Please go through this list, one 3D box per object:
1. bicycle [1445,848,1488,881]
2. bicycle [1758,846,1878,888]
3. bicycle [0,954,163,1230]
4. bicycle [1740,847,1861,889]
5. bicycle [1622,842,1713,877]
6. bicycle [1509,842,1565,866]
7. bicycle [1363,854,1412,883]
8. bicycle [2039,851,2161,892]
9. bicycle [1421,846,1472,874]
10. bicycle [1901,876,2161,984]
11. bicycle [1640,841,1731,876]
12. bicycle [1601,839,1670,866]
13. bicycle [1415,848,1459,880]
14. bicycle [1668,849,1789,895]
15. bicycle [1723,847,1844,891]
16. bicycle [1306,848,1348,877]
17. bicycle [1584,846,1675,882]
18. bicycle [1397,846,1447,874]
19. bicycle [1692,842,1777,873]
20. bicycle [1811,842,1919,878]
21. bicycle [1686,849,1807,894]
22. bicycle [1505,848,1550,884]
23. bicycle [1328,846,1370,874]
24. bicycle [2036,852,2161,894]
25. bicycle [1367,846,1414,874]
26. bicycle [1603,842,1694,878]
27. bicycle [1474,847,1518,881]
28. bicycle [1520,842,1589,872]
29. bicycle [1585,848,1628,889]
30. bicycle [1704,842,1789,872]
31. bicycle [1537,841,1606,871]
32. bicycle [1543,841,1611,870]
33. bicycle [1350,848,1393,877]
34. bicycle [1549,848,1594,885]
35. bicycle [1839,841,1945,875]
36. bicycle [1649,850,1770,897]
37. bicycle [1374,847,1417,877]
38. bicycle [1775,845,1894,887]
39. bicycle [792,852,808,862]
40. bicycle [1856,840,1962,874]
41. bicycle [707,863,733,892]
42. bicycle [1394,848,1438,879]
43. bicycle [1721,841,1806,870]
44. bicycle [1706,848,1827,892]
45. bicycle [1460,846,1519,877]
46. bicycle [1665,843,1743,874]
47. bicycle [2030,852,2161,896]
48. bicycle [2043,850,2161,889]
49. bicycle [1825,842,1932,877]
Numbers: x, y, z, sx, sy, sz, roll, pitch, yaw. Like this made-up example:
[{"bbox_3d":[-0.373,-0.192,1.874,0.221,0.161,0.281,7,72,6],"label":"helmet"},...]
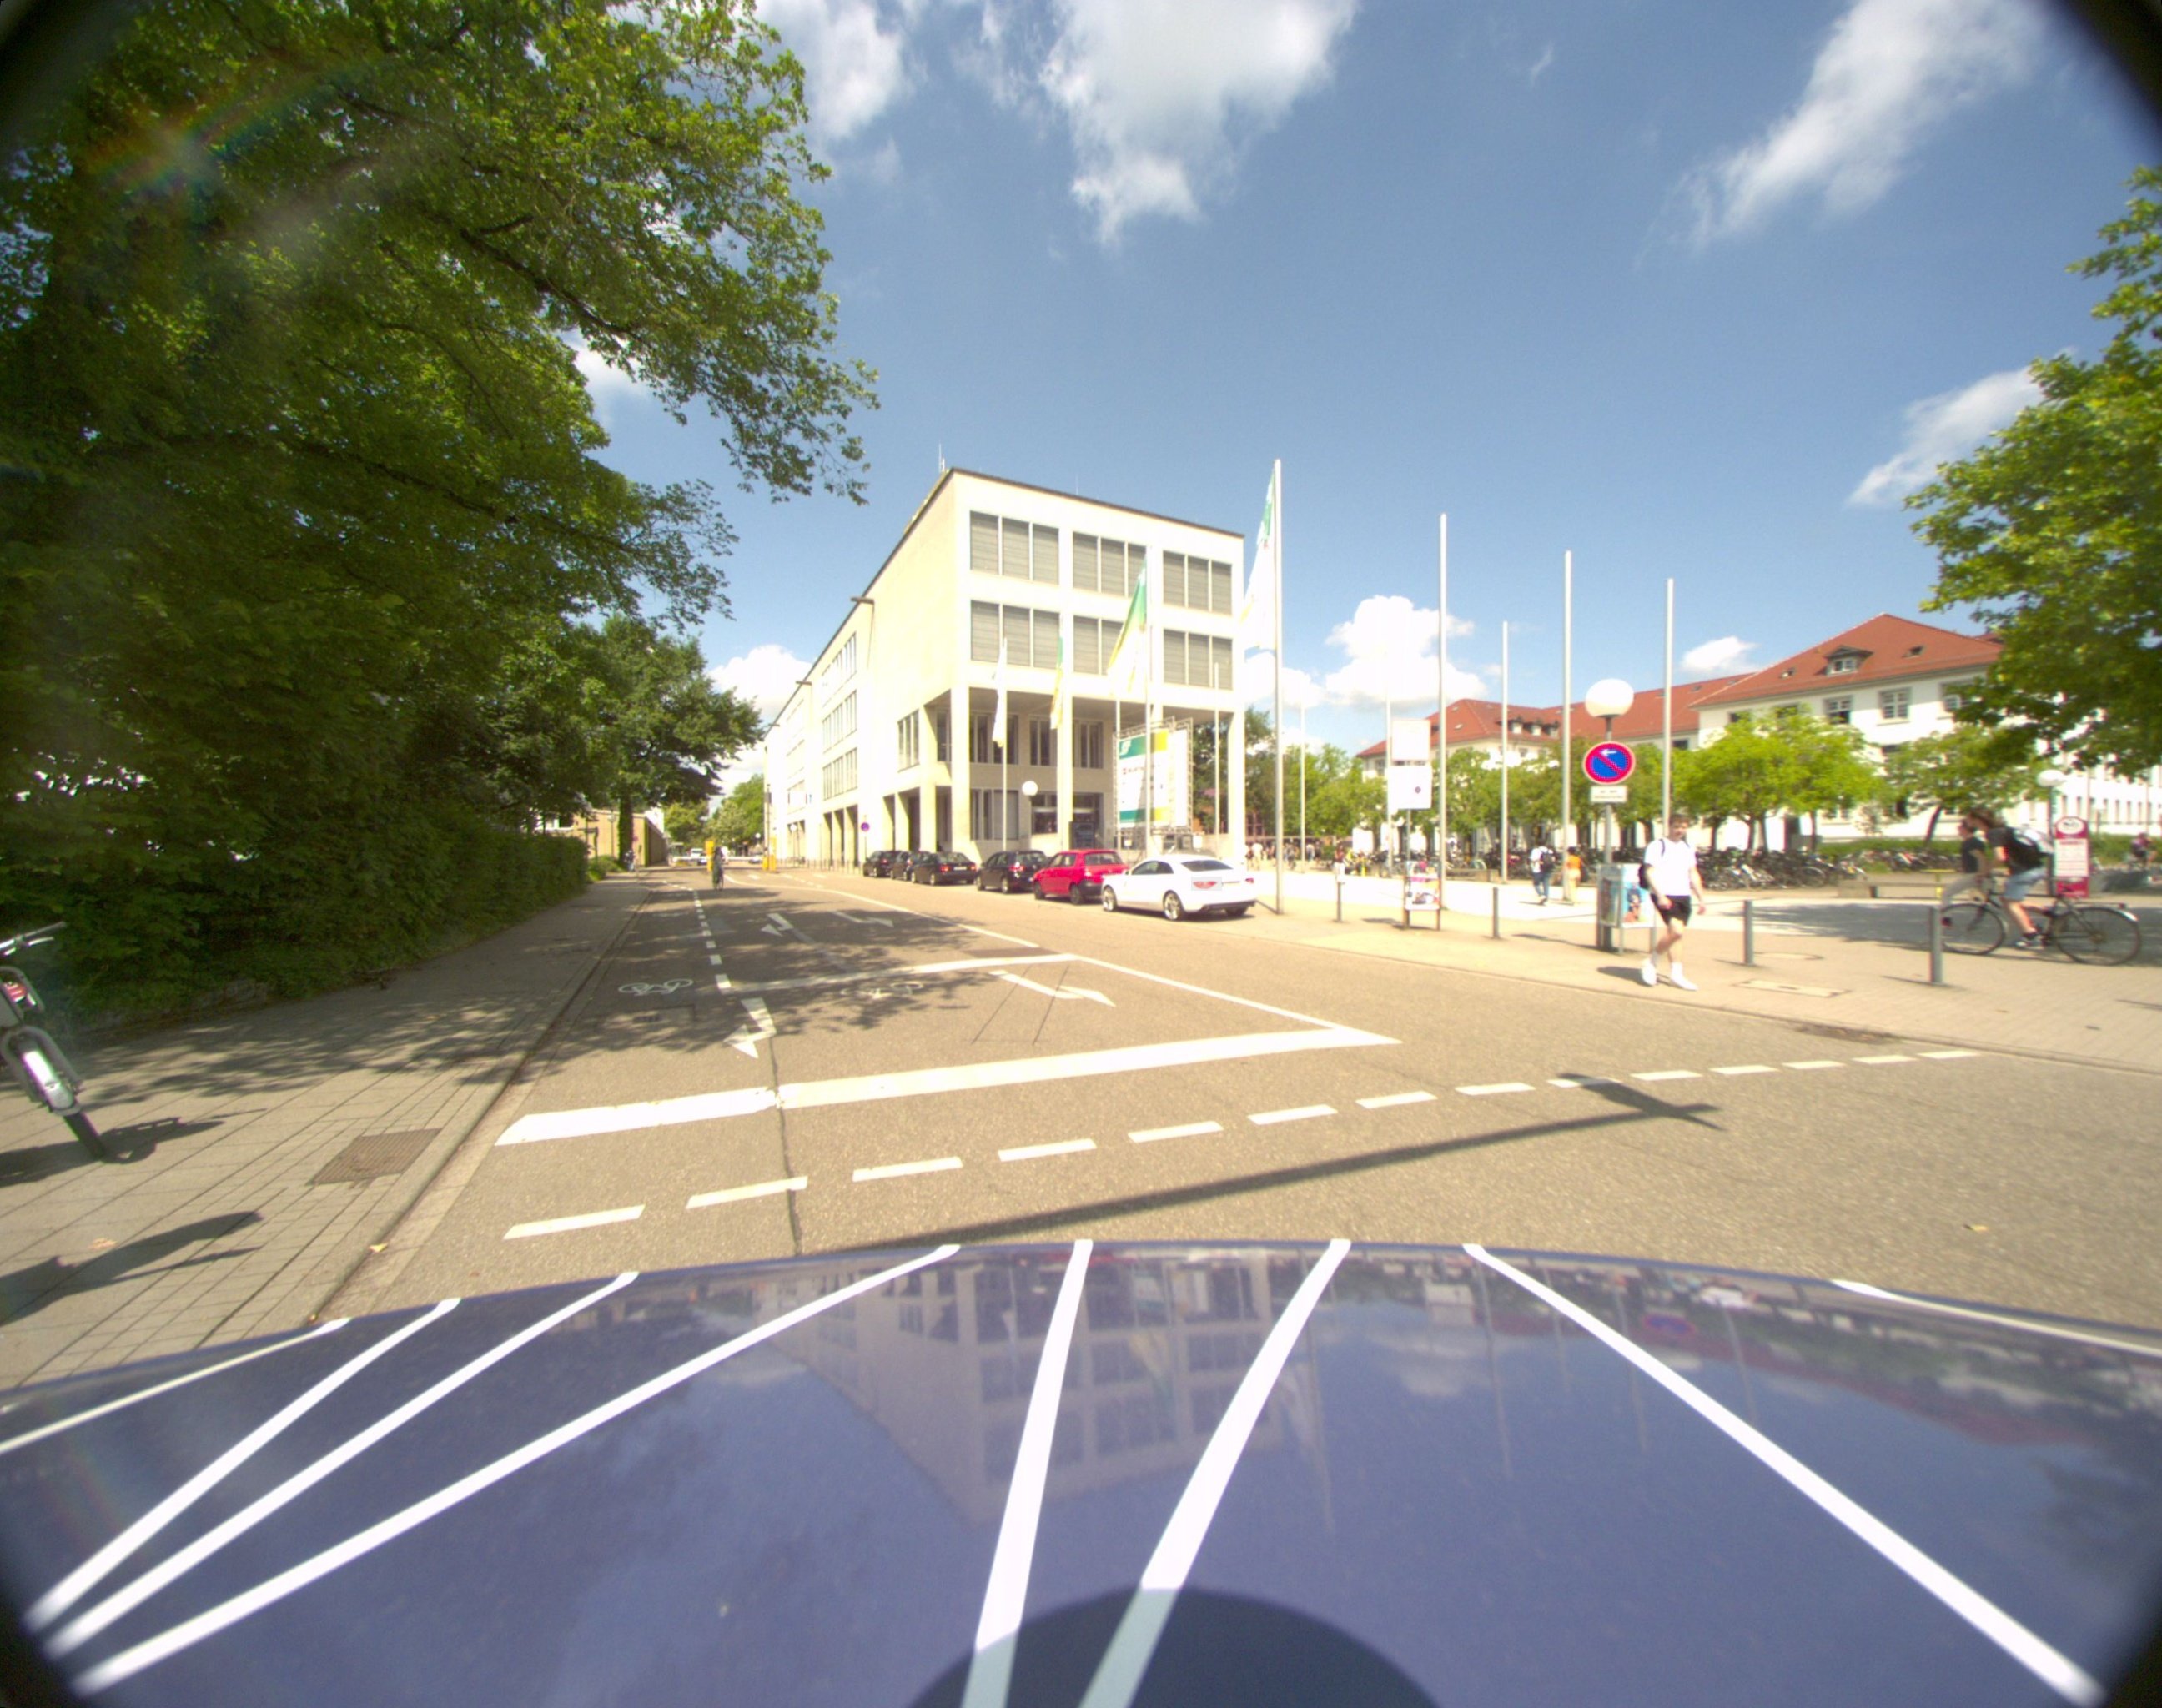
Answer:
[{"bbox_3d":[17.819,0.444,35.068,1.144,1.403,2.957,0,2,40],"label":"bicycle"},{"bbox_3d":[26.636,0.430,27.567,1.067,1.403,2.945,-2,1,-22],"label":"bicycle"},{"bbox_3d":[-5.042,1.089,3.043,0.593,1.120,1.742,2,1,1],"label":"bicycle"},{"bbox_3d":[25.607,0.459,27.137,1.067,1.403,2.945,-2,1,-22],"label":"bicycle"},{"bbox_3d":[24.769,0.202,32.203,1.066,1.403,2.946,-2,1,-19],"label":"bicycle"},{"bbox_3d":[28.348,-0.016,47.314,1.149,1.403,2.946,-2,1,-19],"label":"bicycle"},{"bbox_3d":[13.498,0.609,33.545,0.652,1.209,2.089,-2,2,-27],"label":"bicycle"},{"bbox_3d":[31.113,0.501,22.742,1.003,1.131,2.943,-2,2,-35],"label":"bicycle"},{"bbox_3d":[19.716,0.281,41.103,1.148,1.403,2.949,-1,1,-6],"label":"bicycle"},{"bbox_3d":[11.910,0.883,9.549,0.773,1.116,2.023,-3,1,-17],"label":"bicycle"},{"bbox_3d":[25.845,0.174,32.574,1.066,1.403,2.946,-2,1,-19],"label":"bicycle"},{"bbox_3d":[30.177,-0.095,41.435,1.066,1.403,2.946,-2,1,-19],"label":"bicycle"},{"bbox_3d":[16.814,0.448,35.804,1.144,1.403,2.957,0,2,40],"label":"bicycle"},{"bbox_3d":[21.625,0.568,25.477,1.019,1.408,2.945,-2,1,-22],"label":"bicycle"},{"bbox_3d":[24.588,0.488,26.688,1.067,1.403,2.945,-2,1,-22],"label":"bicycle"},{"bbox_3d":[13.272,0.437,40.930,1.144,1.403,2.957,0,2,40],"label":"bicycle"},{"bbox_3d":[22.600,0.372,31.409,1.066,1.403,2.946,-2,1,-19],"label":"bicycle"},{"bbox_3d":[18.450,0.303,41.203,1.148,1.403,2.949,-1,1,-6],"label":"bicycle"},{"bbox_3d":[31.519,0.144,36.727,1.067,1.403,2.944,-2,2,-28],"label":"bicycle"},{"bbox_3d":[32.798,0.221,31.866,1.067,1.403,2.945,-2,1,-22],"label":"bicycle"},{"bbox_3d":[22.601,0.543,25.899,1.019,1.403,2.945,-2,1,-22],"label":"bicycle"},{"bbox_3d":[19.061,0.475,32.410,1.144,1.403,2.957,0,2,40],"label":"bicycle"},{"bbox_3d":[14.189,0.295,40.162,1.144,1.403,2.957,0,2,40],"label":"bicycle"},{"bbox_3d":[30.220,0.526,22.123,1.003,1.141,2.943,-2,2,-35],"label":"bicycle"},{"bbox_3d":[17.114,0.310,42.123,1.148,1.403,2.949,-1,1,-6],"label":"bicycle"},{"bbox_3d":[23.697,0.231,31.830,1.066,1.403,2.946,-2,1,-19],"label":"bicycle"},{"bbox_3d":[18.744,0.442,34.275,1.144,1.403,2.957,0,2,40],"label":"bicycle"},{"bbox_3d":[23.455,0.111,37.750,1.066,1.403,2.946,-2,1,-16],"label":"bicycle"},{"bbox_3d":[20.162,0.523,29.123,1.062,1.403,2.957,0,2,40],"label":"bicycle"},{"bbox_3d":[32.646,0.109,37.349,1.067,1.403,2.944,-2,2,-28],"label":"bicycle"},{"bbox_3d":[24.537,0.083,38.098,1.066,1.403,2.946,-2,1,-16],"label":"bicycle"},{"bbox_3d":[25.500,0.044,39.112,1.066,1.403,2.946,-2,1,-16],"label":"bicycle"},{"bbox_3d":[15.087,0.406,39.396,1.144,1.403,2.957,0,2,40],"label":"bicycle"},{"bbox_3d":[20.069,0.484,31.054,1.144,1.403,2.957,0,2,40],"label":"bicycle"},{"bbox_3d":[35.066,0.155,32.919,1.067,1.403,2.945,-2,1,-22],"label":"bicycle"},{"bbox_3d":[20.641,0.594,25.062,1.019,1.411,2.945,-2,1,-22],"label":"bicycle"},{"bbox_3d":[15.991,0.405,38.593,1.144,1.403,2.957,0,2,40],"label":"bicycle"},{"bbox_3d":[27.683,0.401,28.008,1.067,1.403,2.945,-2,1,-22],"label":"bicycle"},{"bbox_3d":[-32.513,0.323,87.838,1.646,1.080,0.606,-2,2,-33],"label":"bicycle"},{"bbox_3d":[36.348,0.120,33.438,1.067,1.403,2.945,-2,1,-22],"label":"bicycle"},{"bbox_3d":[-14.018,0.881,29.481,0.783,1.042,1.908,-1,1,-30],"label":"bicycle"},{"bbox_3d":[16.444,0.424,37.249,1.144,1.403,2.957,0,2,40],"label":"bicycle"},{"bbox_3d":[34.435,0.053,38.379,1.216,1.403,2.944,-2,2,-28],"label":"bicycle"},{"bbox_3d":[23.605,0.515,26.282,1.019,1.403,2.945,-2,1,-22],"label":"bicycle"},{"bbox_3d":[20.122,0.348,37.535,1.148,1.403,2.949,-1,1,-6],"label":"bicycle"},{"bbox_3d":[29.781,0.185,36.393,1.065,1.403,2.948,-1,1,-9],"label":"bicycle"},{"bbox_3d":[29.058,0.541,21.321,1.003,1.141,2.943,-2,2,-35],"label":"bicycle"},{"bbox_3d":[32.104,0.448,23.435,1.003,1.143,2.943,-2,2,-35],"label":"bicycle"},{"bbox_3d":[33.956,0.187,32.426,1.067,1.403,2.945,-2,1,-22],"label":"bicycle"}]
